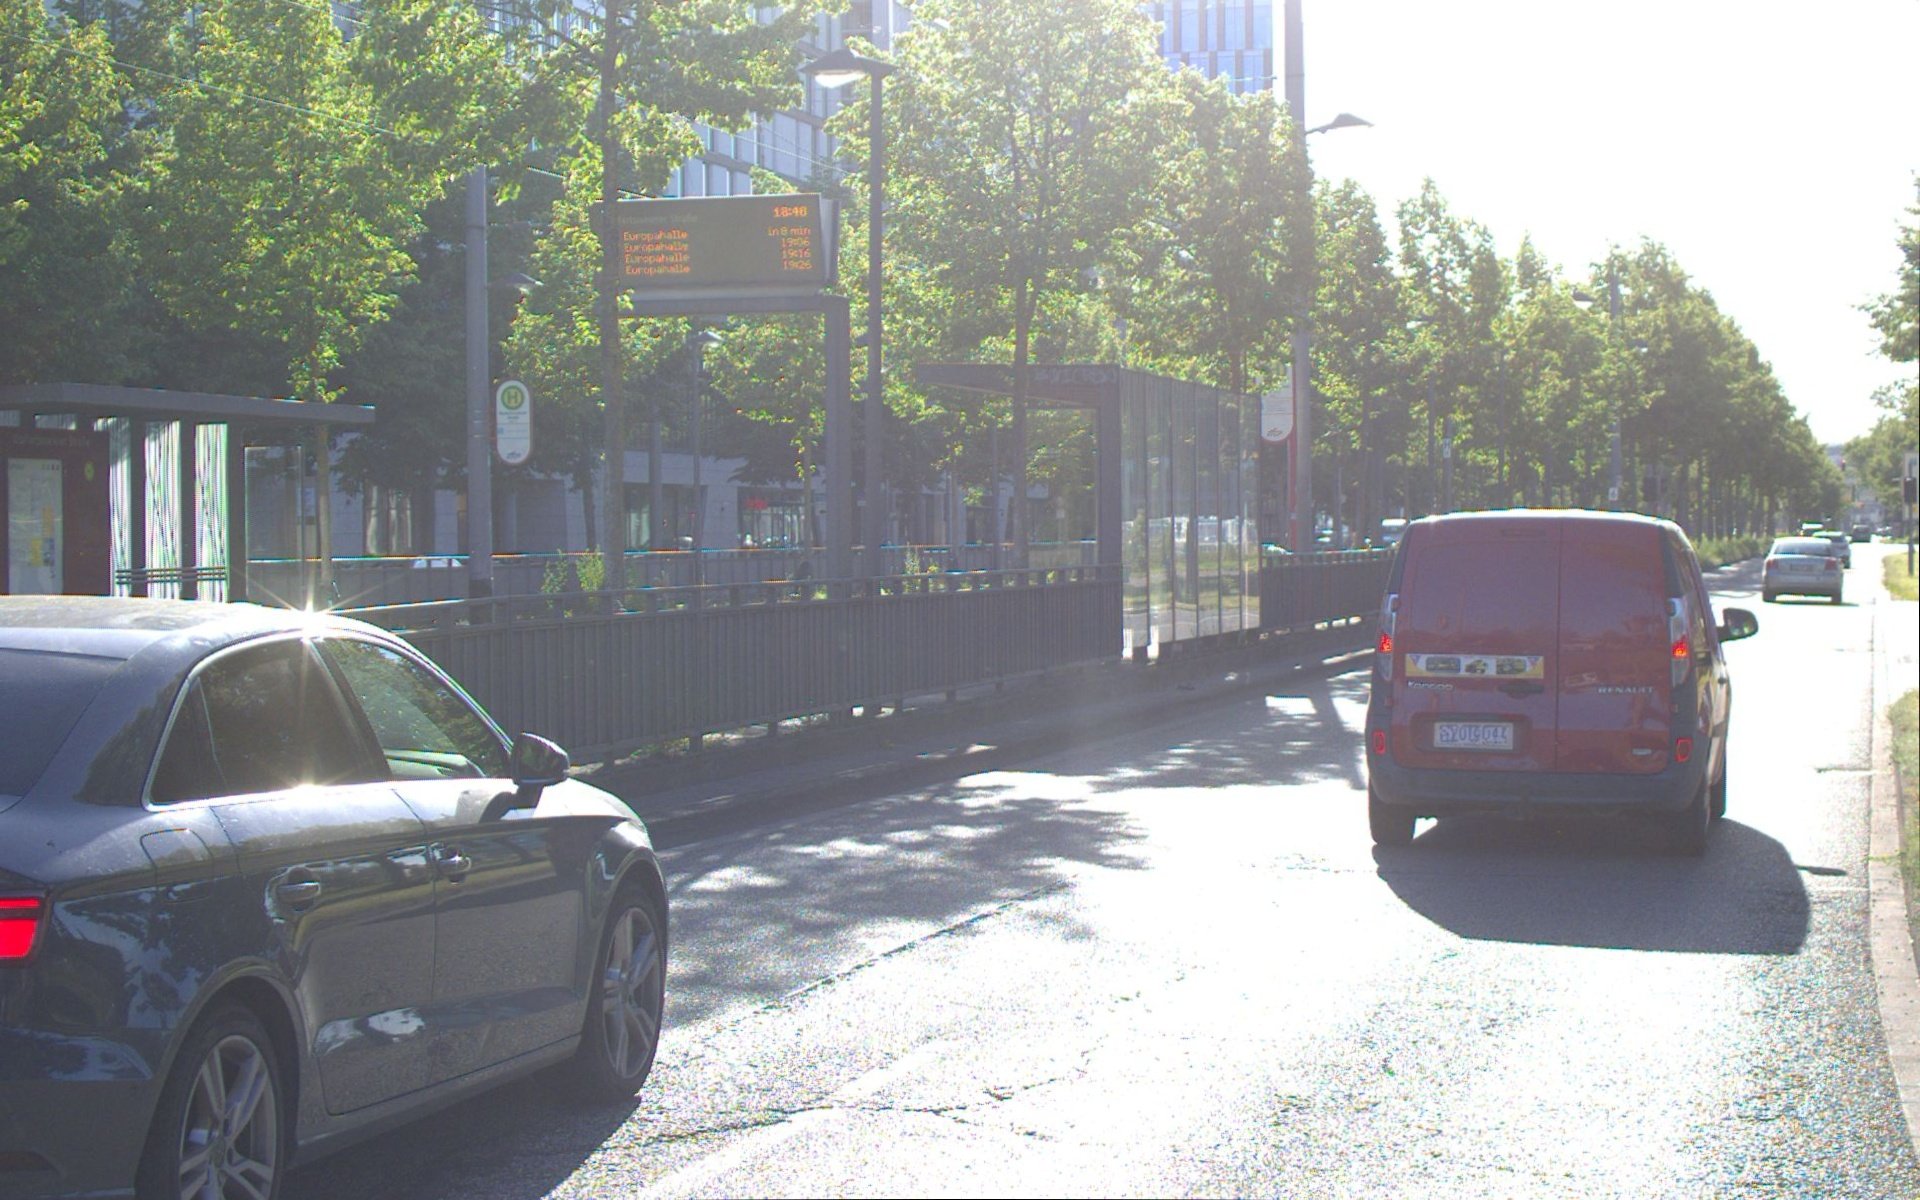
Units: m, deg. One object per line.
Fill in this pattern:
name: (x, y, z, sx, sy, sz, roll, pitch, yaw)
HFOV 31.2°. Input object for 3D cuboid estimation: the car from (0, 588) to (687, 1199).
car: (-2.077, 0.703, 8.038, 1.722, 1.361, 4.144, 2, 1, 12)

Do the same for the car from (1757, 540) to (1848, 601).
car: (19.083, -0.683, 78.002, 1.943, 1.343, 3.998, 0, 1, 13)

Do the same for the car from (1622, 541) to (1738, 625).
car: (12.849, -0.321, 61.217, 1.943, 1.436, 3.998, 0, 1, 13)

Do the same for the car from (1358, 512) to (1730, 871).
car: (3.349, 0.430, 19.159, 1.799, 1.771, 3.998, 0, 1, 13)
